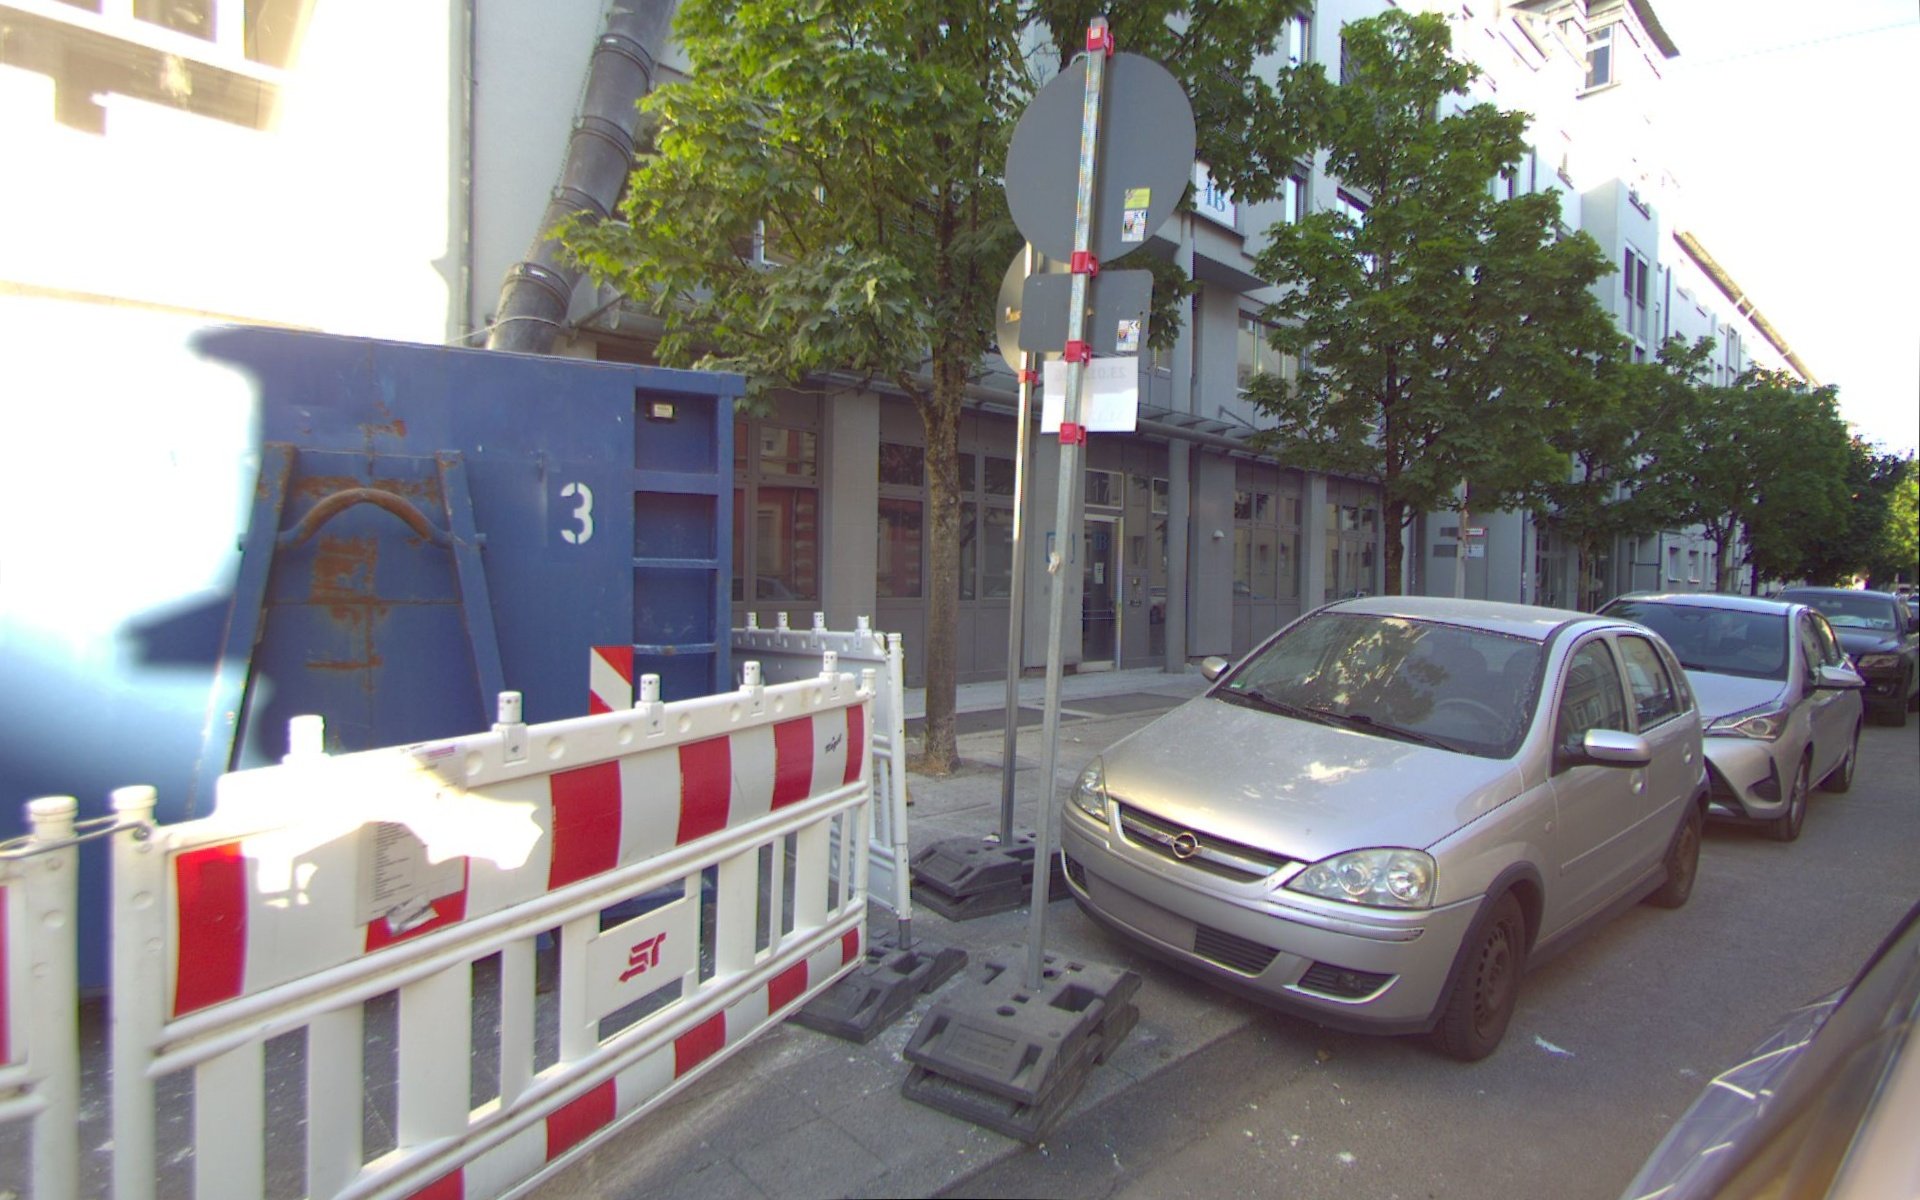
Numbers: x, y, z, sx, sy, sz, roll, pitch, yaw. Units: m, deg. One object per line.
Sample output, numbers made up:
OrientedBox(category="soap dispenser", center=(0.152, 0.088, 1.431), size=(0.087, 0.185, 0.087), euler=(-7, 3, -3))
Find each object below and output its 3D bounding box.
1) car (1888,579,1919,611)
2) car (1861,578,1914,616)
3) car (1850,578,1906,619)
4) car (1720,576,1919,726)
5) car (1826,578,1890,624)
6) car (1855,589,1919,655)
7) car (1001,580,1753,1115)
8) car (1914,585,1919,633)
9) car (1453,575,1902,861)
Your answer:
OrientedBox(category="car", center=(61.136, -0.341, 65.065), size=(3.935, 2.039, 1.995), euler=(0, 1, -45))
OrientedBox(category="car", center=(51.911, -0.204, 56.613), size=(3.935, 2.039, 1.995), euler=(0, 1, -45))
OrientedBox(category="car", center=(48.665, -0.107, 53.621), size=(3.935, 2.039, 1.995), euler=(0, 1, -45))
OrientedBox(category="car", center=(11.973, 0.558, 13.734), size=(4.315, 1.710, 1.861), euler=(0, 1, -42))
OrientedBox(category="car", center=(41.889, -0.005, 47.189), size=(3.935, 2.039, 1.995), euler=(0, 1, -45))
OrientedBox(category="car", center=(23.419, 0.504, 24.891), size=(3.935, 1.507, 1.852), euler=(0, 1, -45))
OrientedBox(category="car", center=(2.200, 0.657, 4.721), size=(3.995, 1.465, 1.637), euler=(0, 1, -41))
OrientedBox(category="car", center=(35.232, 0.311, 35.990), size=(1.851, 1.680, 3.936), euler=(1, 1, 44))
OrientedBox(category="car", center=(5.583, 0.633, 7.704), size=(3.930, 1.605, 1.911), euler=(0, 1, -41))
